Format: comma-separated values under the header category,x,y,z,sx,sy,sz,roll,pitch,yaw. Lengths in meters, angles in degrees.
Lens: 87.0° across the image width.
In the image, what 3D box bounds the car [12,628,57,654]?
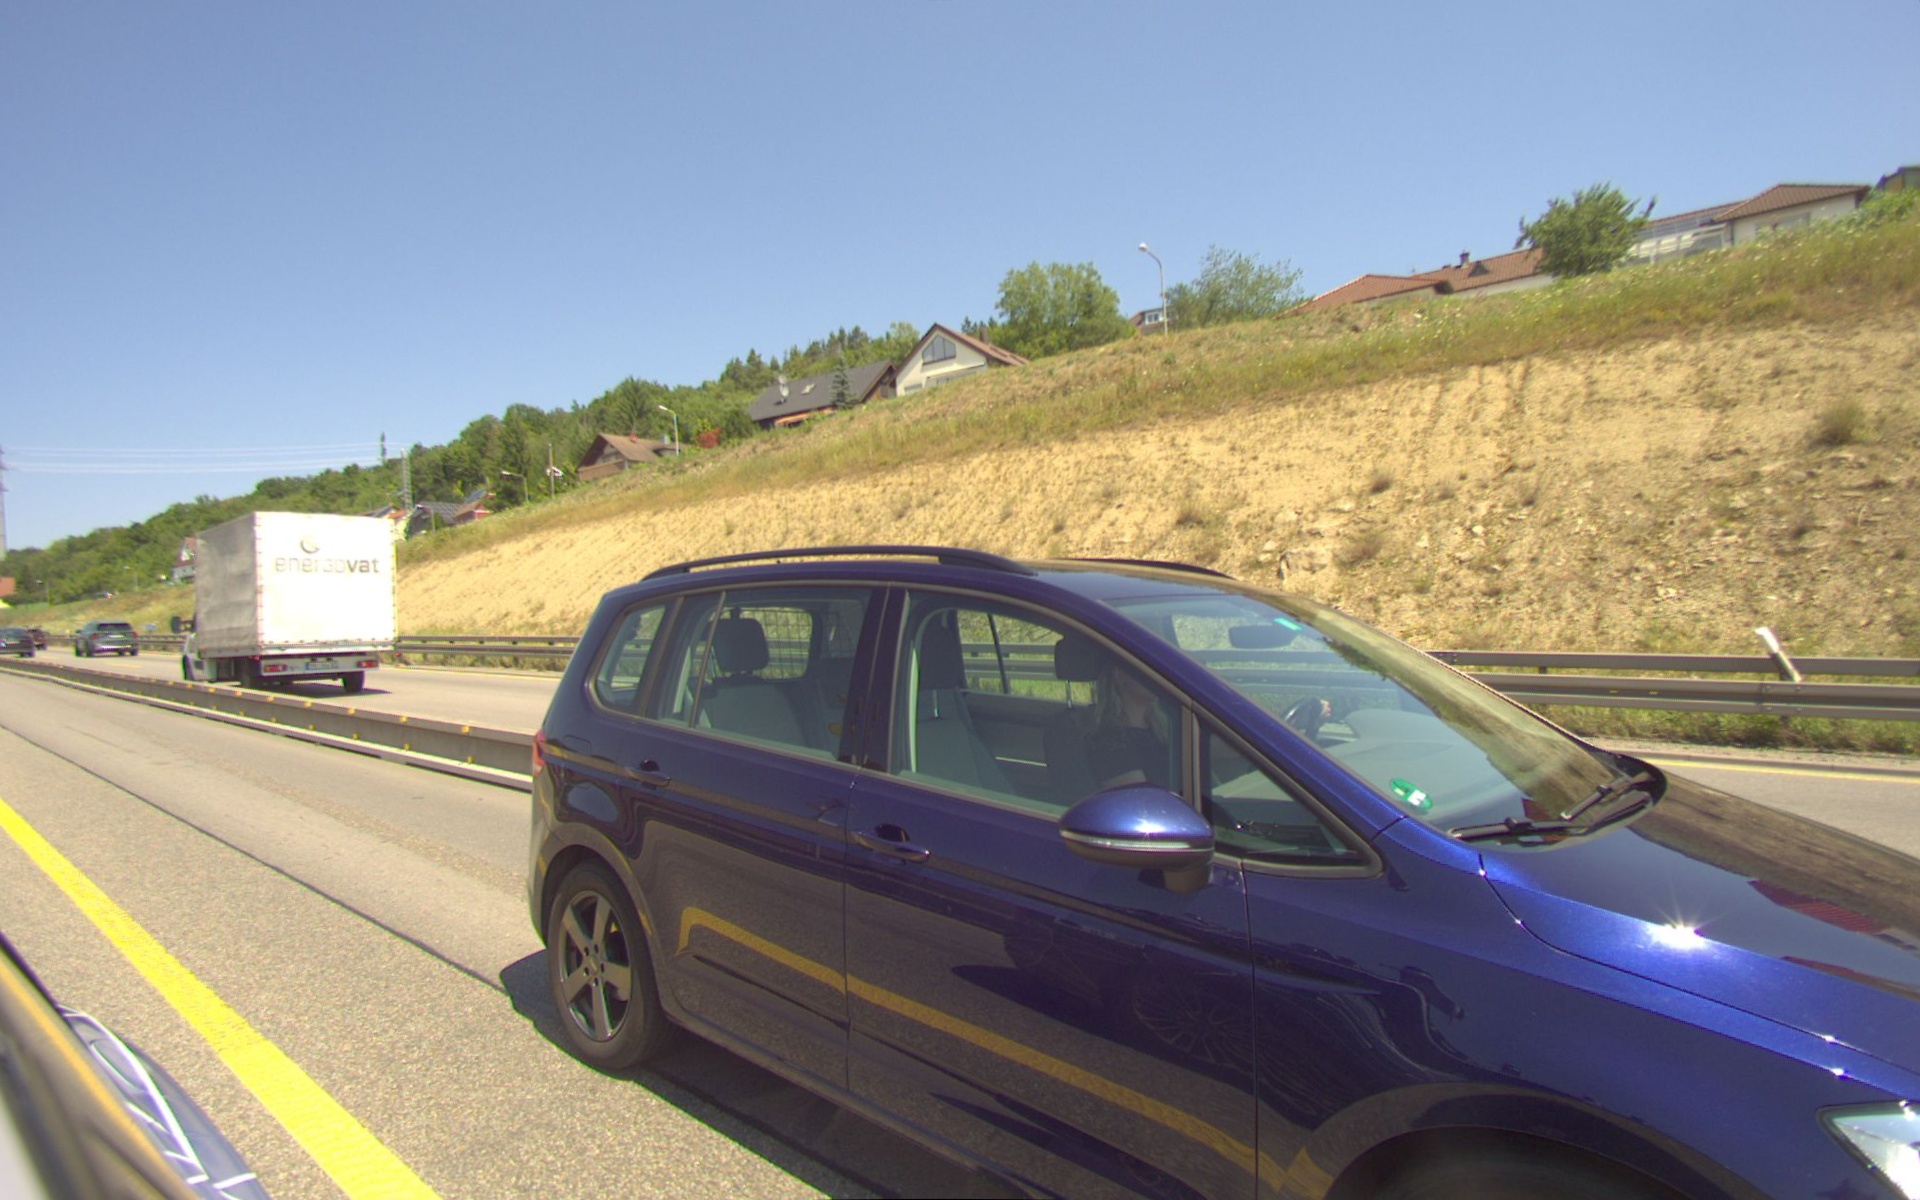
category,x,y,z,sx,sy,sz,roll,pitch,yaw
car,-61.600,2.703,67.327,5.124,1.597,1.667,-2,-1,41

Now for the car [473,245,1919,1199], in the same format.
category,x,y,z,sx,sy,sz,roll,pitch,yaw
car,0.542,0.513,2.842,4.650,1.731,1.757,-3,-2,42

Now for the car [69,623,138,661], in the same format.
category,x,y,z,sx,sy,sz,roll,pitch,yaw
car,-40.958,1.998,48.377,4.666,1.684,1.834,-2,-1,41

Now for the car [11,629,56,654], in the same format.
category,x,y,z,sx,sy,sz,roll,pitch,yaw
car,-61.369,2.764,67.005,4.334,1.506,1.757,-3,-1,42

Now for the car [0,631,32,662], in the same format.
category,x,y,z,sx,sy,sz,roll,pitch,yaw
car,-46.873,2.264,49.399,4.947,1.438,1.778,-2,-1,41

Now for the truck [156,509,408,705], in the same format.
category,x,y,z,sx,sy,sz,roll,pitch,yaw
truck,-14.089,0.190,20.784,7.034,3.399,2.512,-2,-1,41
